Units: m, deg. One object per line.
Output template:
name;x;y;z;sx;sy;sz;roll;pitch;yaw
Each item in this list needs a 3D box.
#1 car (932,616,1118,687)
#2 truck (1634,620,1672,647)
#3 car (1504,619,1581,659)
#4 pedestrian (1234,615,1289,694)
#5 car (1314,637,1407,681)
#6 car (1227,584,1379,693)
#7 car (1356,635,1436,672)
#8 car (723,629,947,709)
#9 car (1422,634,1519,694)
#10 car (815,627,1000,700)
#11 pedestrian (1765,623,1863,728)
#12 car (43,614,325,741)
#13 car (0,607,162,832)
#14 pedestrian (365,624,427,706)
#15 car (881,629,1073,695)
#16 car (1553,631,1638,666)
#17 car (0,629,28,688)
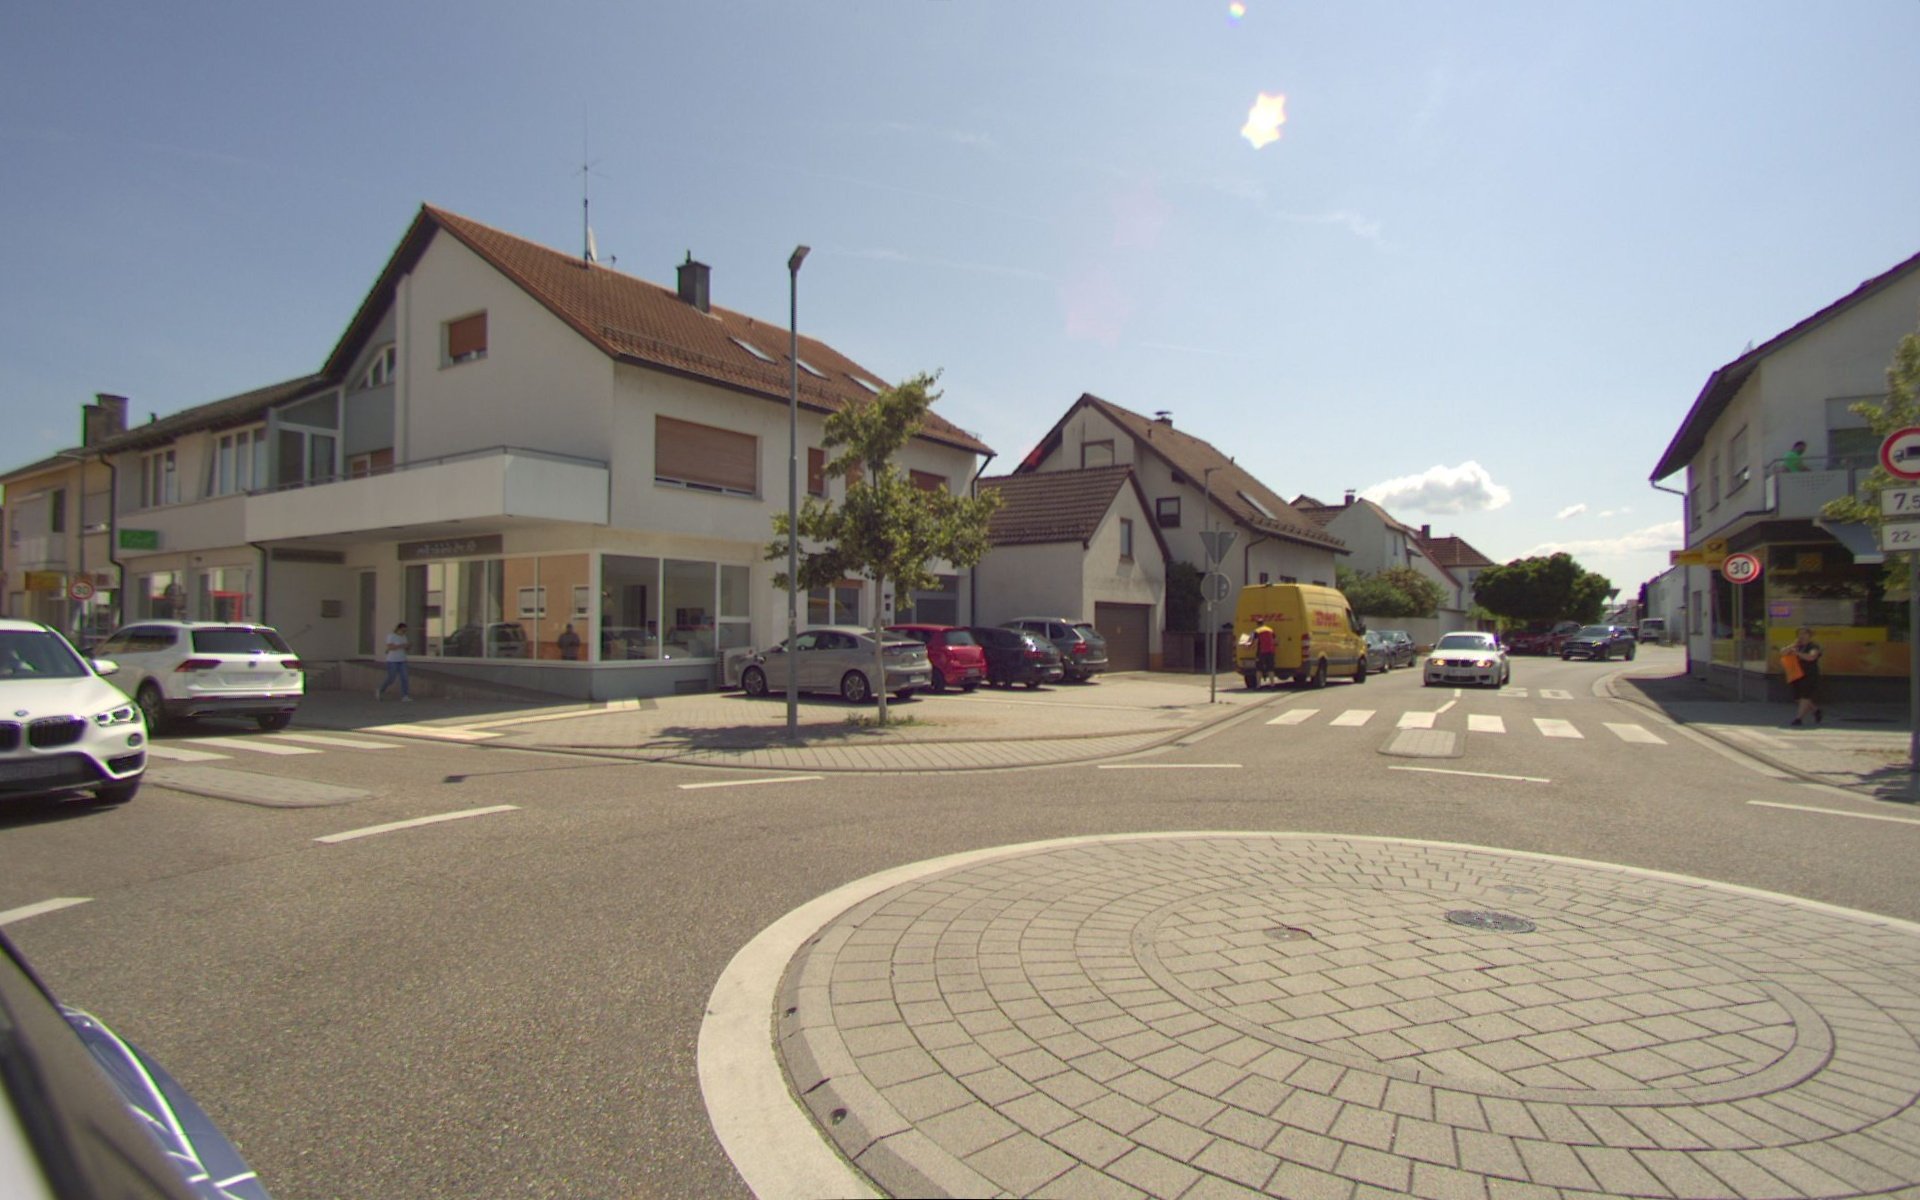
car;1.724;1.336;27.548;4.735;1.753;1.965;-1;-2;33
truck;63.523;3.067;92.887;2.237;2.470;5.811;-1;-2;28
car;29.249;1.922;50.784;3.907;1.847;1.878;0;-1;-35
pedestrian;7.227;1.309;24.282;1.020;1.840;0.774;-3;-3;32
car;13.408;1.910;33.753;1.784;1.253;3.921;-2;-1;39
car;9.283;1.030;27.039;2.110;2.592;5.611;-2;-3;38
car;16.719;2.010;38.687;1.784;1.253;3.921;-2;-1;39
car;-2.615;1.334;20.747;4.465;1.462;1.815;-1;-2;33
car;13.769;1.651;27.173;1.875;1.460;4.286;-1;-2;33
car;-1.227;1.375;22.975;3.952;1.488;1.733;-1;-2;33
pedestrian;13.588;1.185;16.126;0.865;1.601;0.752;-1;-2;-13
car;-12.133;1.159;15.774;4.525;1.723;1.852;-1;-5;30
car;-8.889;0.949;8.812;4.363;1.658;1.825;-2;-1;34
pedestrian;-11.454;1.295;20.560;0.954;1.595;0.748;-1;0;35
car;0.370;1.454;24.852;4.465;1.462;1.815;-1;-2;33
car;29.359;2.204;46.711;4.346;1.361;1.884;-1;0;-37
car;-27.571;1.629;27.930;3.987;1.527;1.731;-1;2;32
